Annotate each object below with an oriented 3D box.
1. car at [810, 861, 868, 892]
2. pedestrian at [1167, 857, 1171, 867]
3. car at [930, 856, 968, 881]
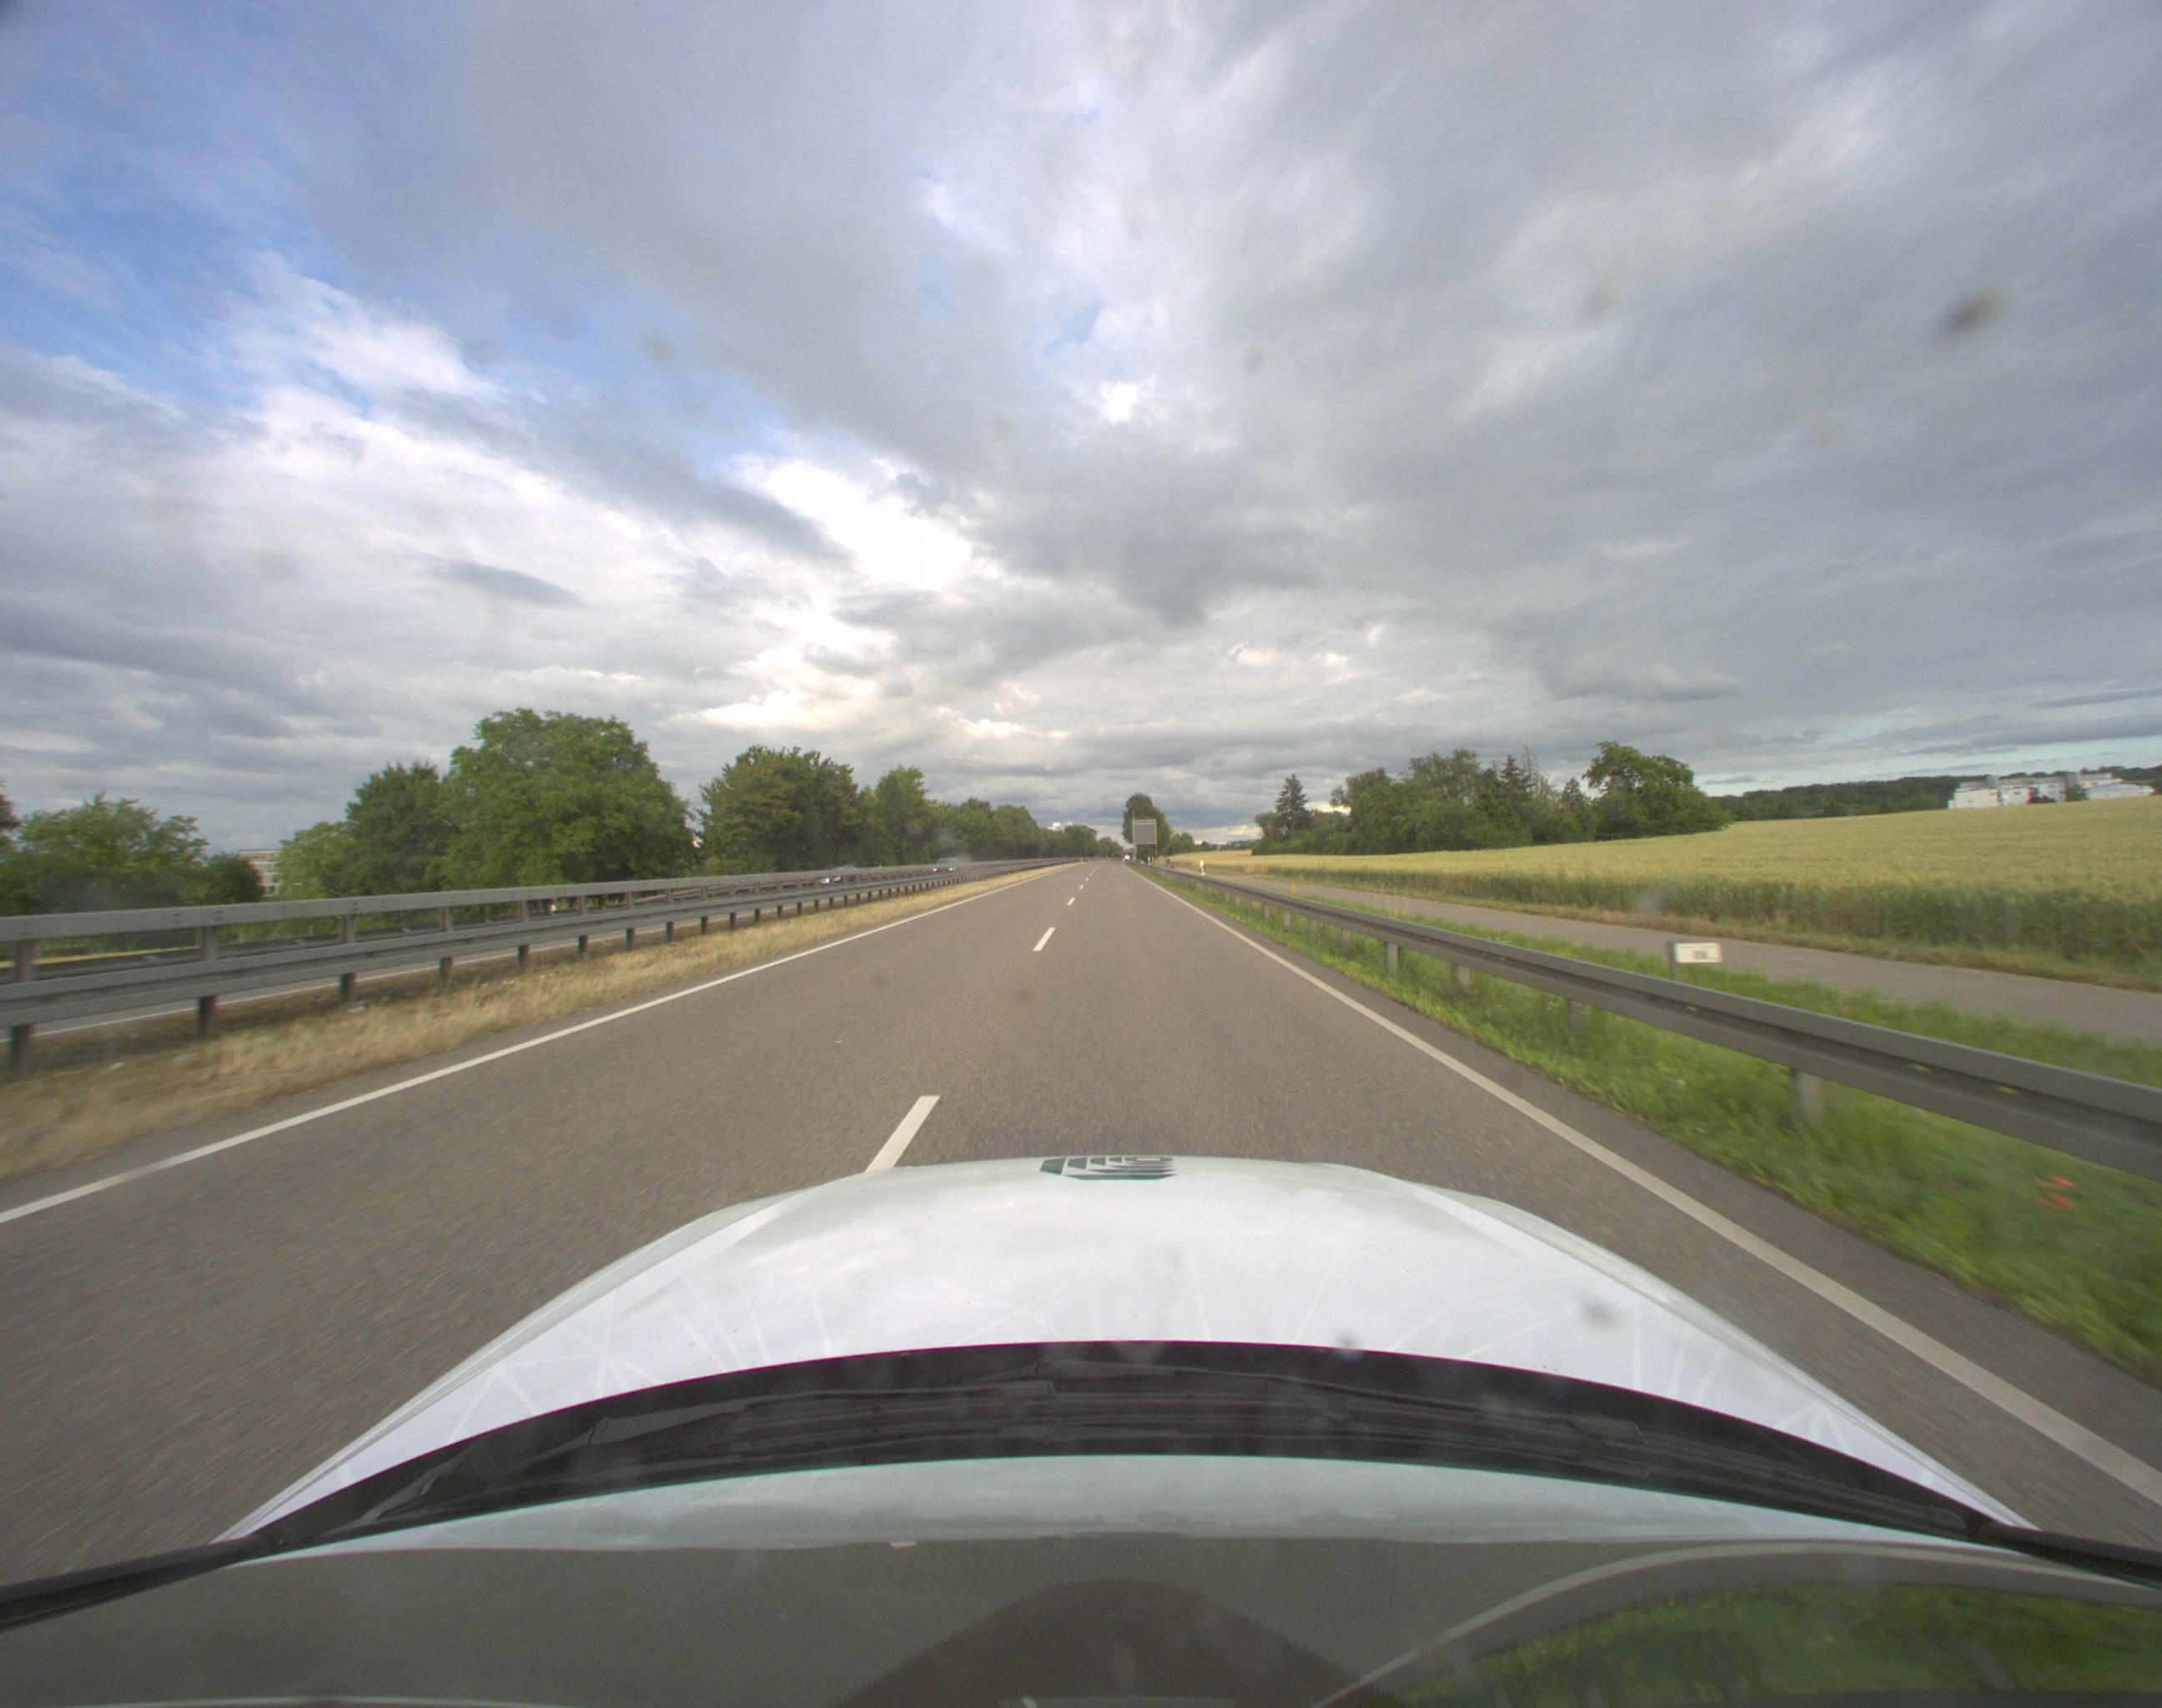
[{"bbox_3d":[-14.199,1.265,47.962,1.790,1.625,4.487,-3,0,3],"label":"car"},{"bbox_3d":[14.884,1.369,138.306,0.599,1.666,0.542,0,-1,-1],"label":"pedestrian"},{"bbox_3d":[-9.726,1.048,60.241,1.790,1.625,4.487,-3,0,3],"label":"car"}]
